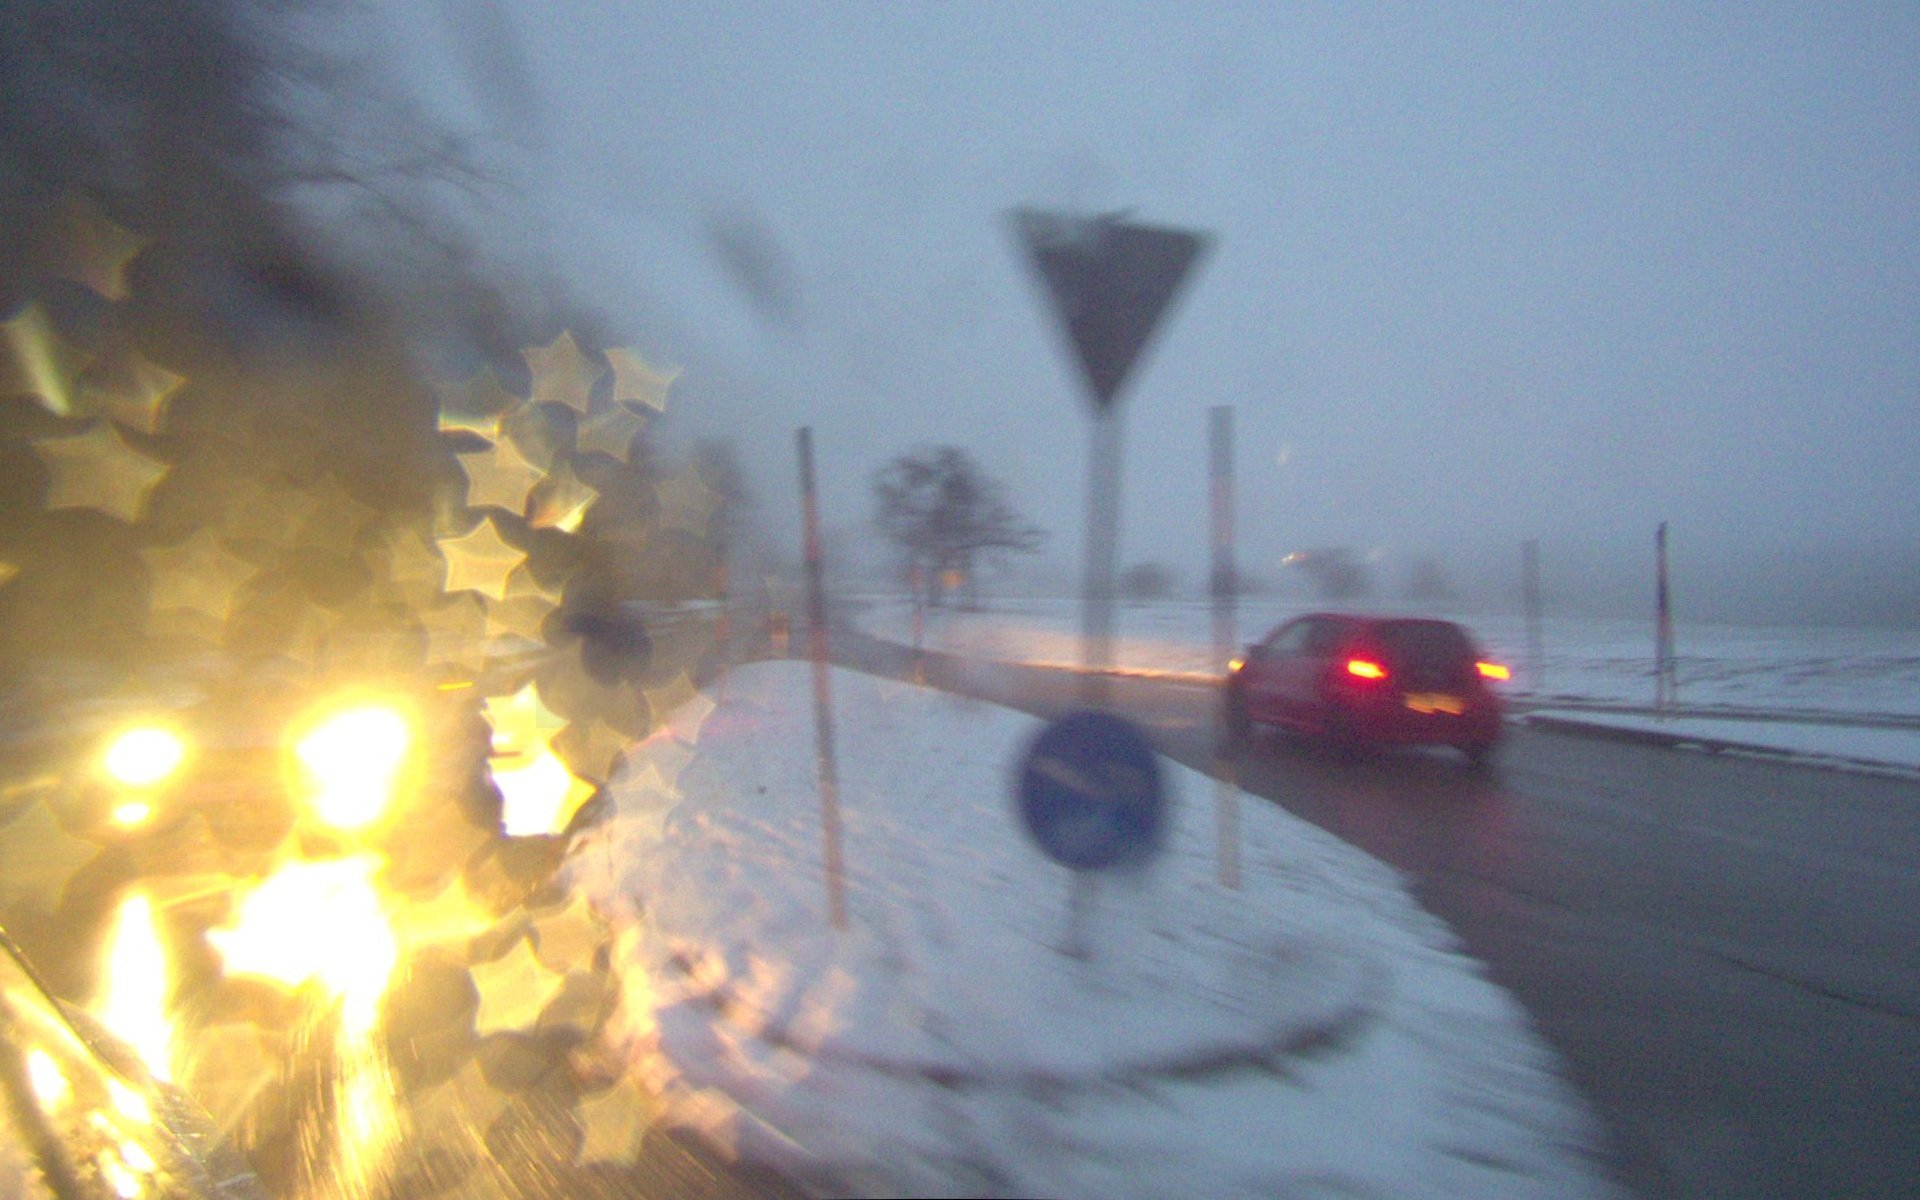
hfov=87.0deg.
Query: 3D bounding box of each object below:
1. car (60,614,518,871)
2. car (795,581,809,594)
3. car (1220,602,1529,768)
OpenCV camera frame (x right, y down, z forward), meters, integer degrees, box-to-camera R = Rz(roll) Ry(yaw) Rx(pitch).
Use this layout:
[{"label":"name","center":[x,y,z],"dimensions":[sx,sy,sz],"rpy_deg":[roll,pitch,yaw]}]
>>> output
[{"label":"car","center":[-4.760,0.853,7.847],"dimensions":[1.698,1.445,3.685],"rpy_deg":[-1,0,-11]},{"label":"car","center":[-23.239,-1.852,149.103],"dimensions":[1.968,1.820,4.007],"rpy_deg":[0,0,-8]},{"label":"car","center":[4.169,0.775,10.787],"dimensions":[1.552,1.463,3.418],"rpy_deg":[0,-1,-7]}]
